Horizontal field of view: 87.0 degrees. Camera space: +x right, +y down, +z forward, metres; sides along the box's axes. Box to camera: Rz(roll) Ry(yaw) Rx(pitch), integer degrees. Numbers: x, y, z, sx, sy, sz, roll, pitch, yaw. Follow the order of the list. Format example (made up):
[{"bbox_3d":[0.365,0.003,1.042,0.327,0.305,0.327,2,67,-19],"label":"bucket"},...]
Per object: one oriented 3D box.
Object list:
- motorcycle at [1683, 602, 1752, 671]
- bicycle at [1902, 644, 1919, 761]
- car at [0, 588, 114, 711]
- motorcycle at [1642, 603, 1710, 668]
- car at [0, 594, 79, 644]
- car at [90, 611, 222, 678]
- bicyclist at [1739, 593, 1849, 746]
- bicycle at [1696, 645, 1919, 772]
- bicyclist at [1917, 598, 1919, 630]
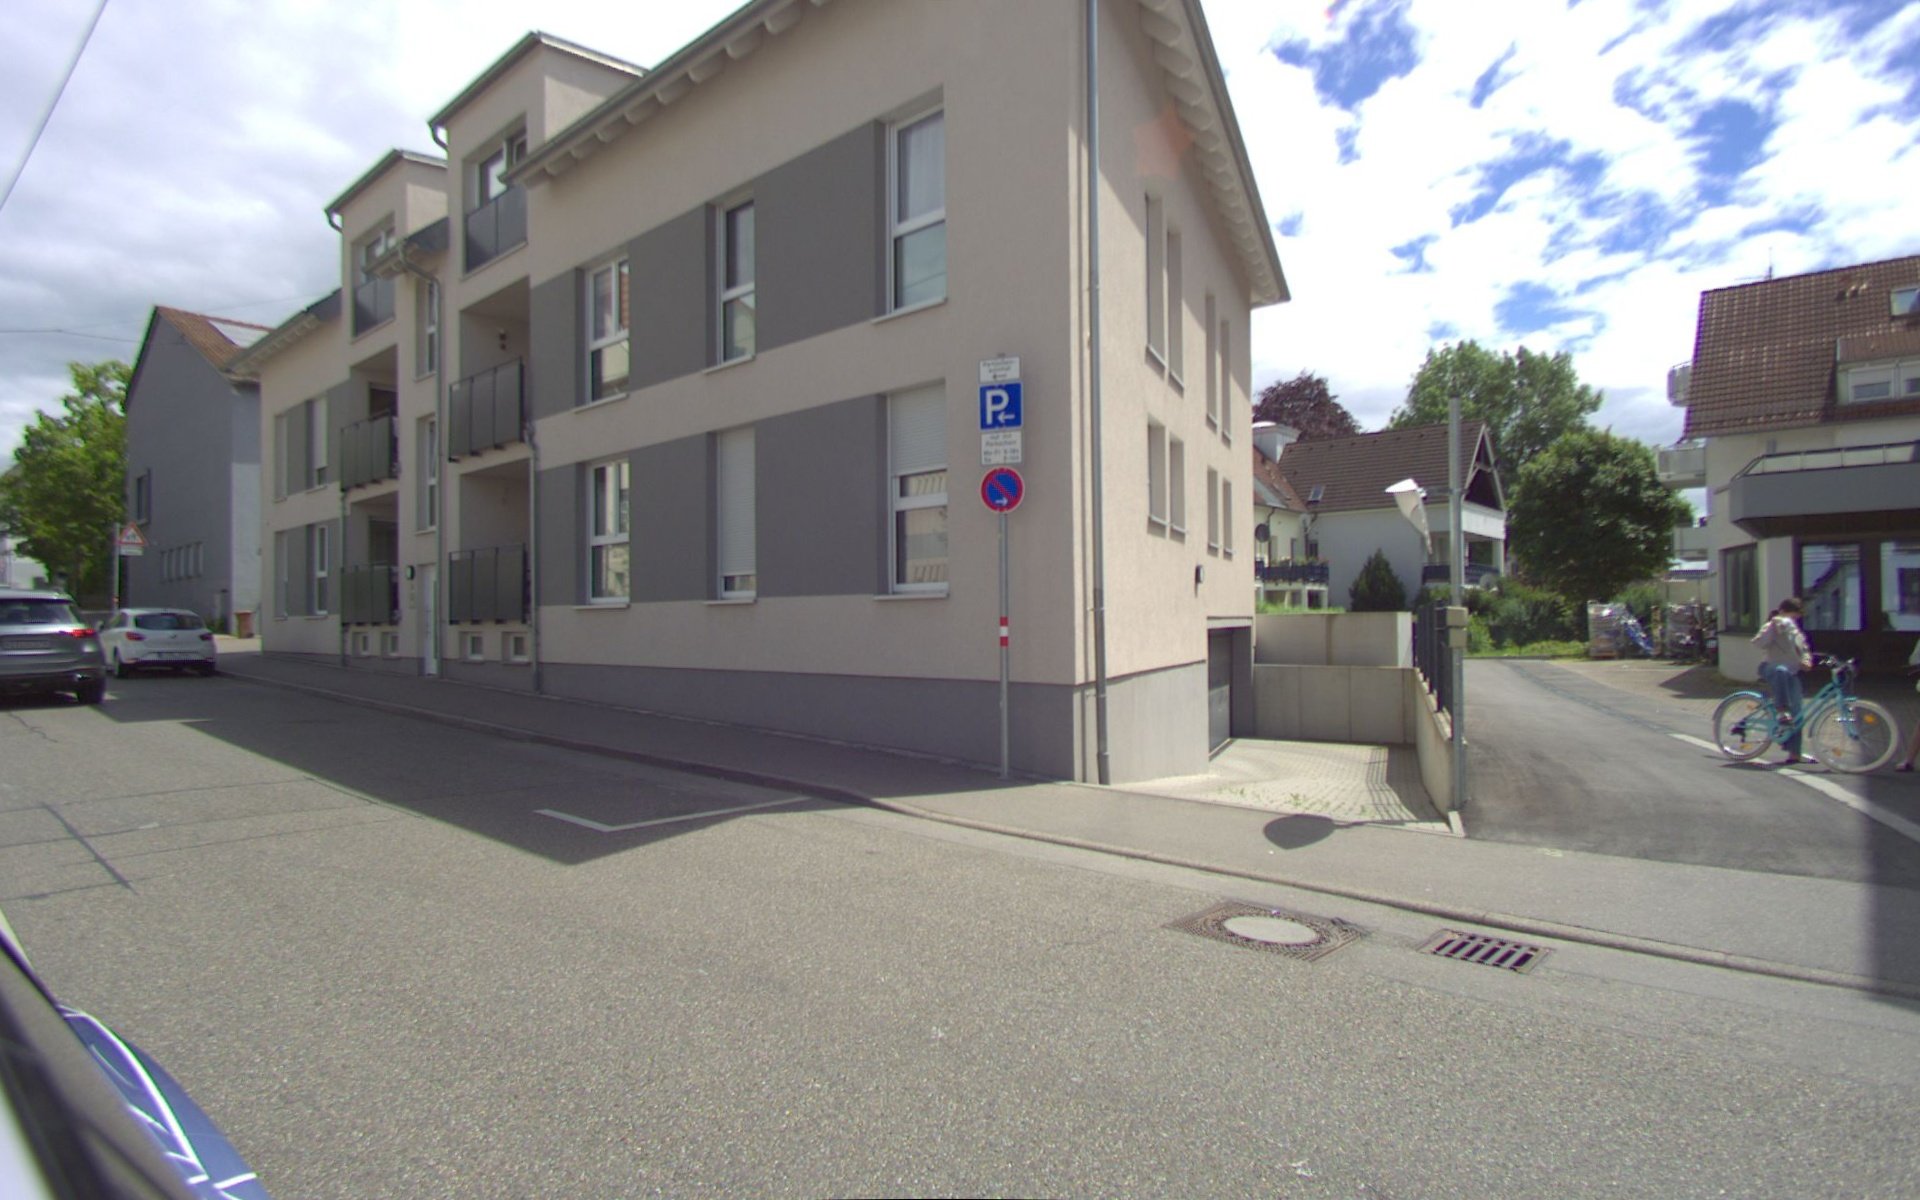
[{"bbox_3d":[18.139,0.828,24.183,0.860,1.530,3.749,-1,-2,44],"label":"motorcycle"},{"bbox_3d":[7.942,0.840,7.785,0.552,0.961,1.675,-2,-2,28],"label":"bicycle"},{"bbox_3d":[-15.120,0.749,15.816,4.589,1.732,1.923,-2,-2,37],"label":"car"},{"bbox_3d":[17.988,0.848,25.373,0.860,1.530,3.567,-1,-2,44],"label":"motorcycle"},{"bbox_3d":[-30.807,0.611,33.690,4.066,1.499,1.714,2,0,42],"label":"car"},{"bbox_3d":[-17.365,0.927,21.819,3.472,1.340,1.644,-2,-2,42],"label":"car"},{"bbox_3d":[7.092,0.570,8.615,0.631,1.251,0.428,0,0,-16],"label":"bicyclist"},{"bbox_3d":[7.118,0.858,8.472,0.451,0.924,1.593,-1,-2,-14],"label":"bicycle"},{"bbox_3d":[7.947,0.650,7.843,0.586,1.376,0.421,-4,-3,28],"label":"bicyclist"}]
